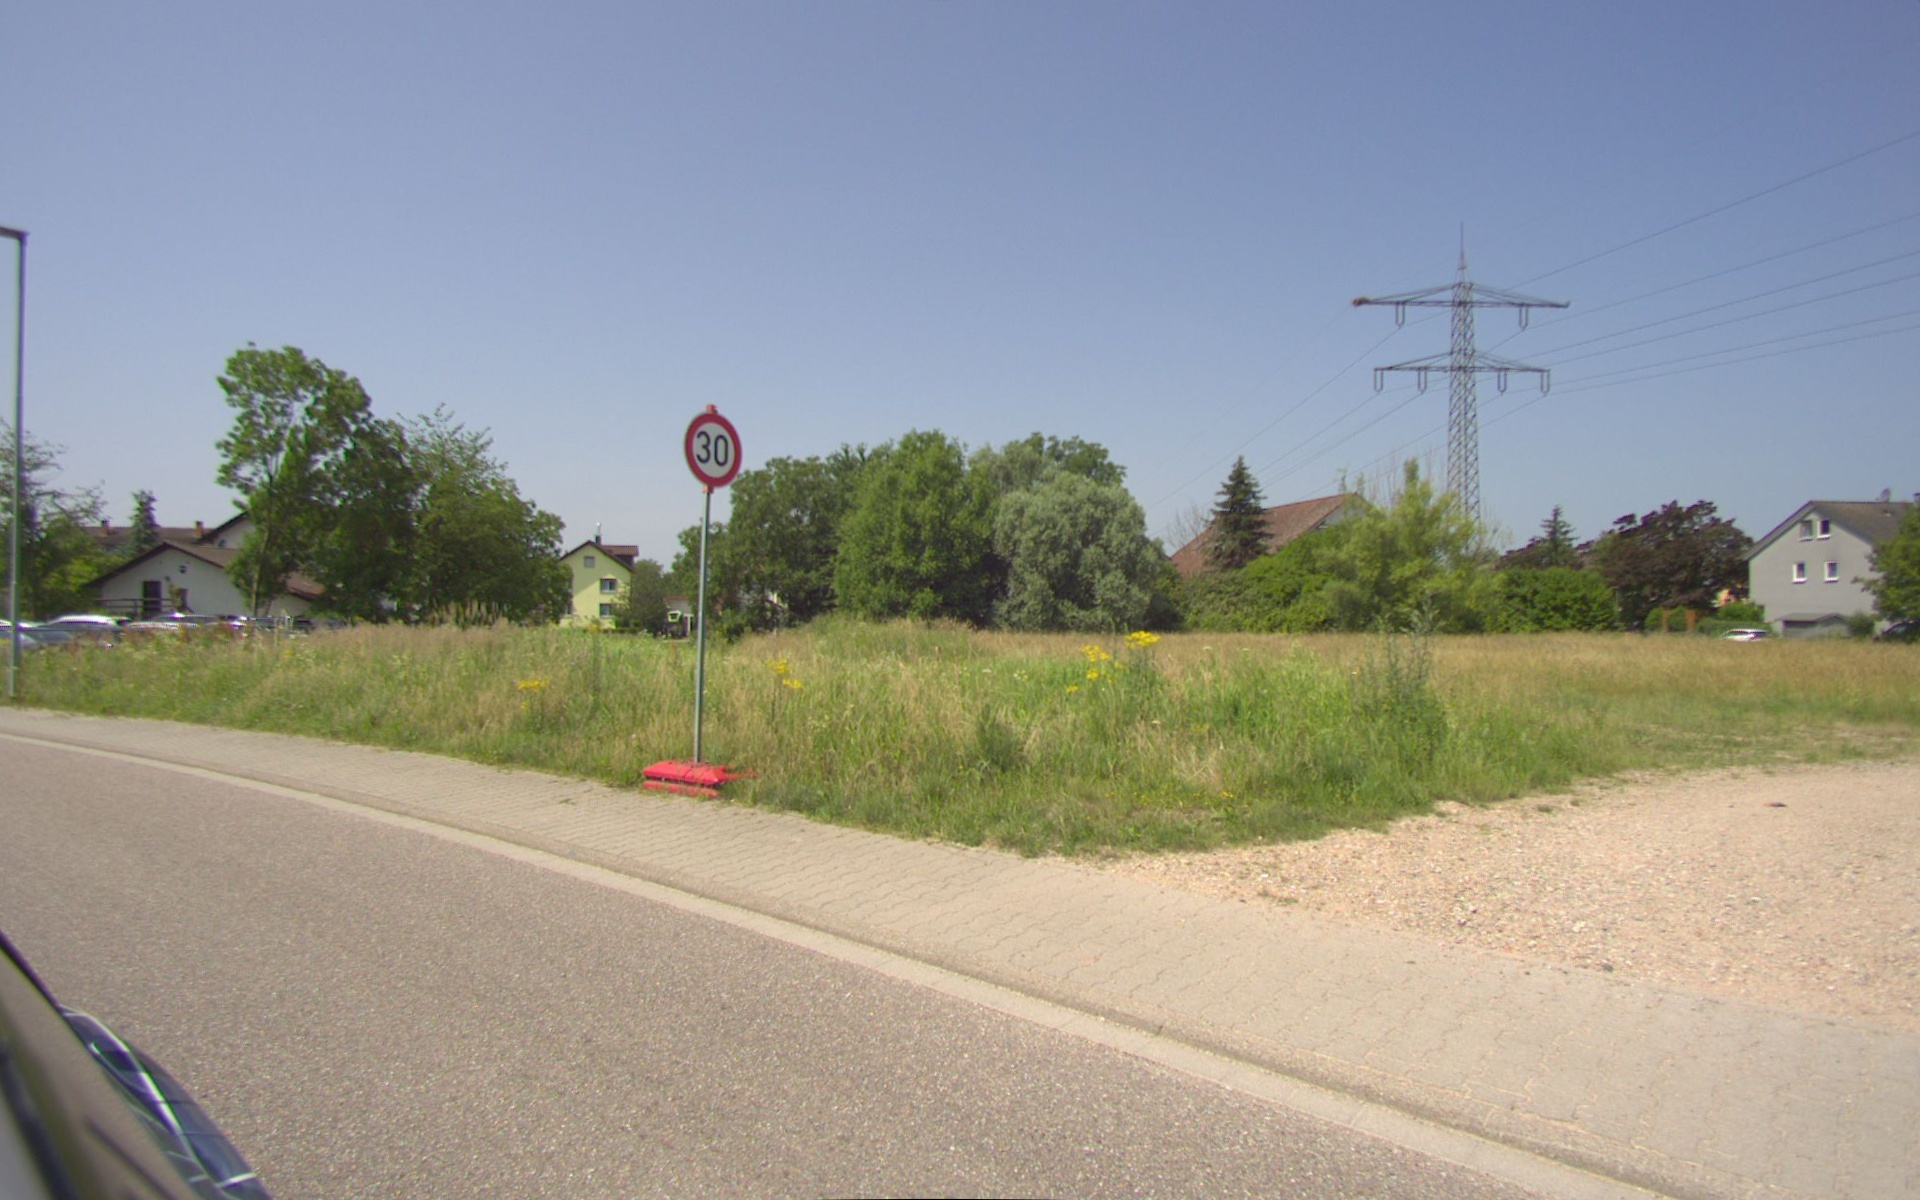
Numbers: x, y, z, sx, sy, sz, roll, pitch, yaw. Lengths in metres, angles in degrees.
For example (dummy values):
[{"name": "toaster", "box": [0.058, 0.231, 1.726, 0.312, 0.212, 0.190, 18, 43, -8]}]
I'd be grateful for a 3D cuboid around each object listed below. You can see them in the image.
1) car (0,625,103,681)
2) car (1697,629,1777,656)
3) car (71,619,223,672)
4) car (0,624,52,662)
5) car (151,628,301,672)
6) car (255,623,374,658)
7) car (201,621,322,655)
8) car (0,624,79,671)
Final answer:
[{"name": "car", "box": [-24.577, 1.336, 26.095, 4.362, 1.344, 1.575, -1, -1, 14]}, {"name": "car", "box": [50.870, 2.741, 66.330, 1.970, 1.623, 4.003, 0, -1, -3]}, {"name": "car", "box": [-25.395, 1.393, 31.698, 3.408, 1.596, 1.584, 0, -1, -6]}, {"name": "car", "box": [-39.631, 1.717, 40.915, 3.937, 1.510, 2.003, 0, -1, -7]}, {"name": "car", "box": [-26.604, 1.790, 36.783, 3.937, 1.510, 2.003, 0, -1, -7]}, {"name": "car", "box": [-28.395, 1.759, 44.645, 3.937, 1.510, 2.003, 0, -1, -7]}, {"name": "car", "box": [-28.560, 1.543, 41.492, 3.688, 1.326, 1.823, 0, -1, -6]}, {"name": "car", "box": [-30.045, 1.480, 31.700, 3.408, 1.430, 1.584, 0, -1, -6]}]
